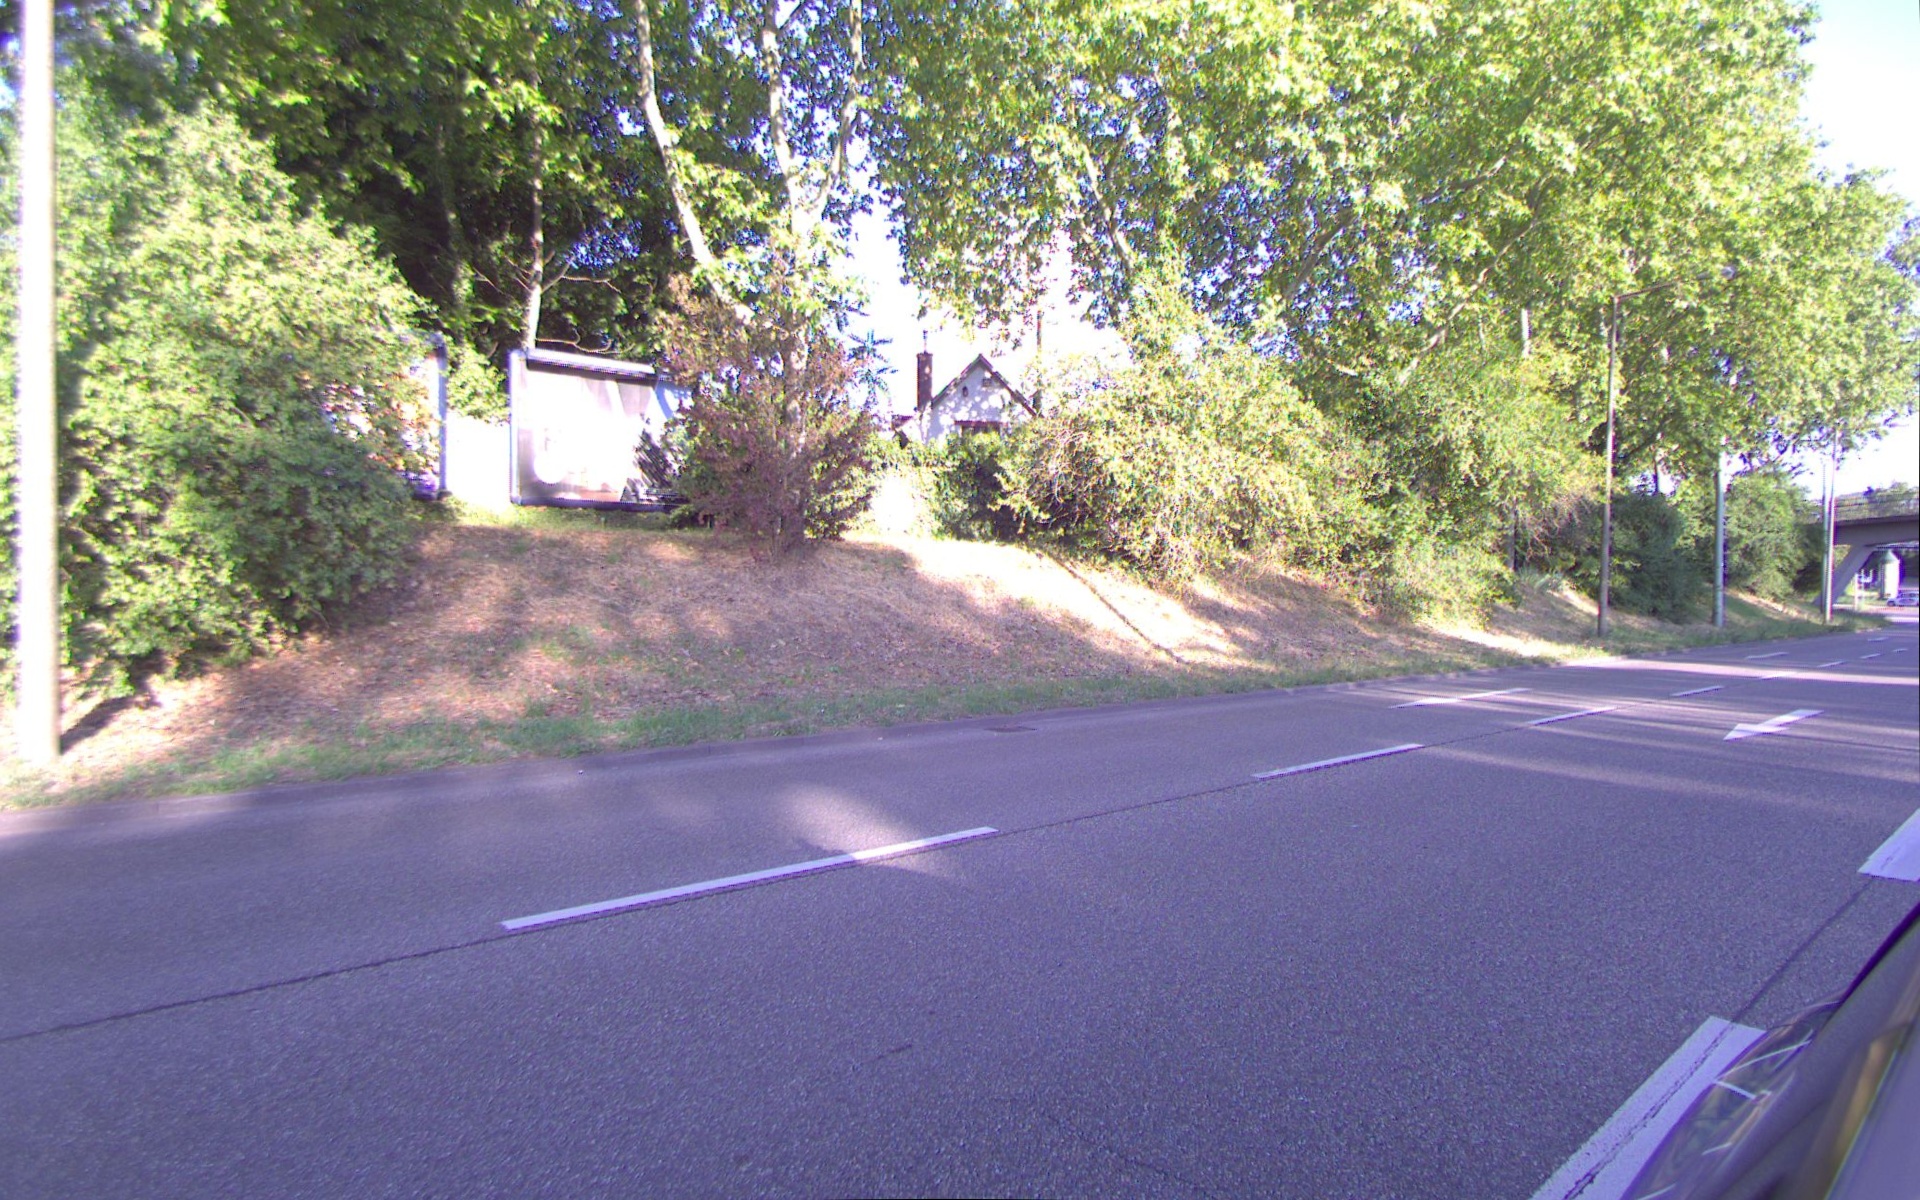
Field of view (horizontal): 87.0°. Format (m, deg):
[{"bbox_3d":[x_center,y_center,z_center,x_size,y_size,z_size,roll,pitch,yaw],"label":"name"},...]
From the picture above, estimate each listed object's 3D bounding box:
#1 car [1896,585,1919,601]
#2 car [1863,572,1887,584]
[{"bbox_3d":[90.636,-0.670,95.041,1.628,1.531,3.663,-1,1,-17],"label":"car"},{"bbox_3d":[147.251,-3.508,162.939,1.665,1.812,3.840,0,0,24],"label":"car"}]
